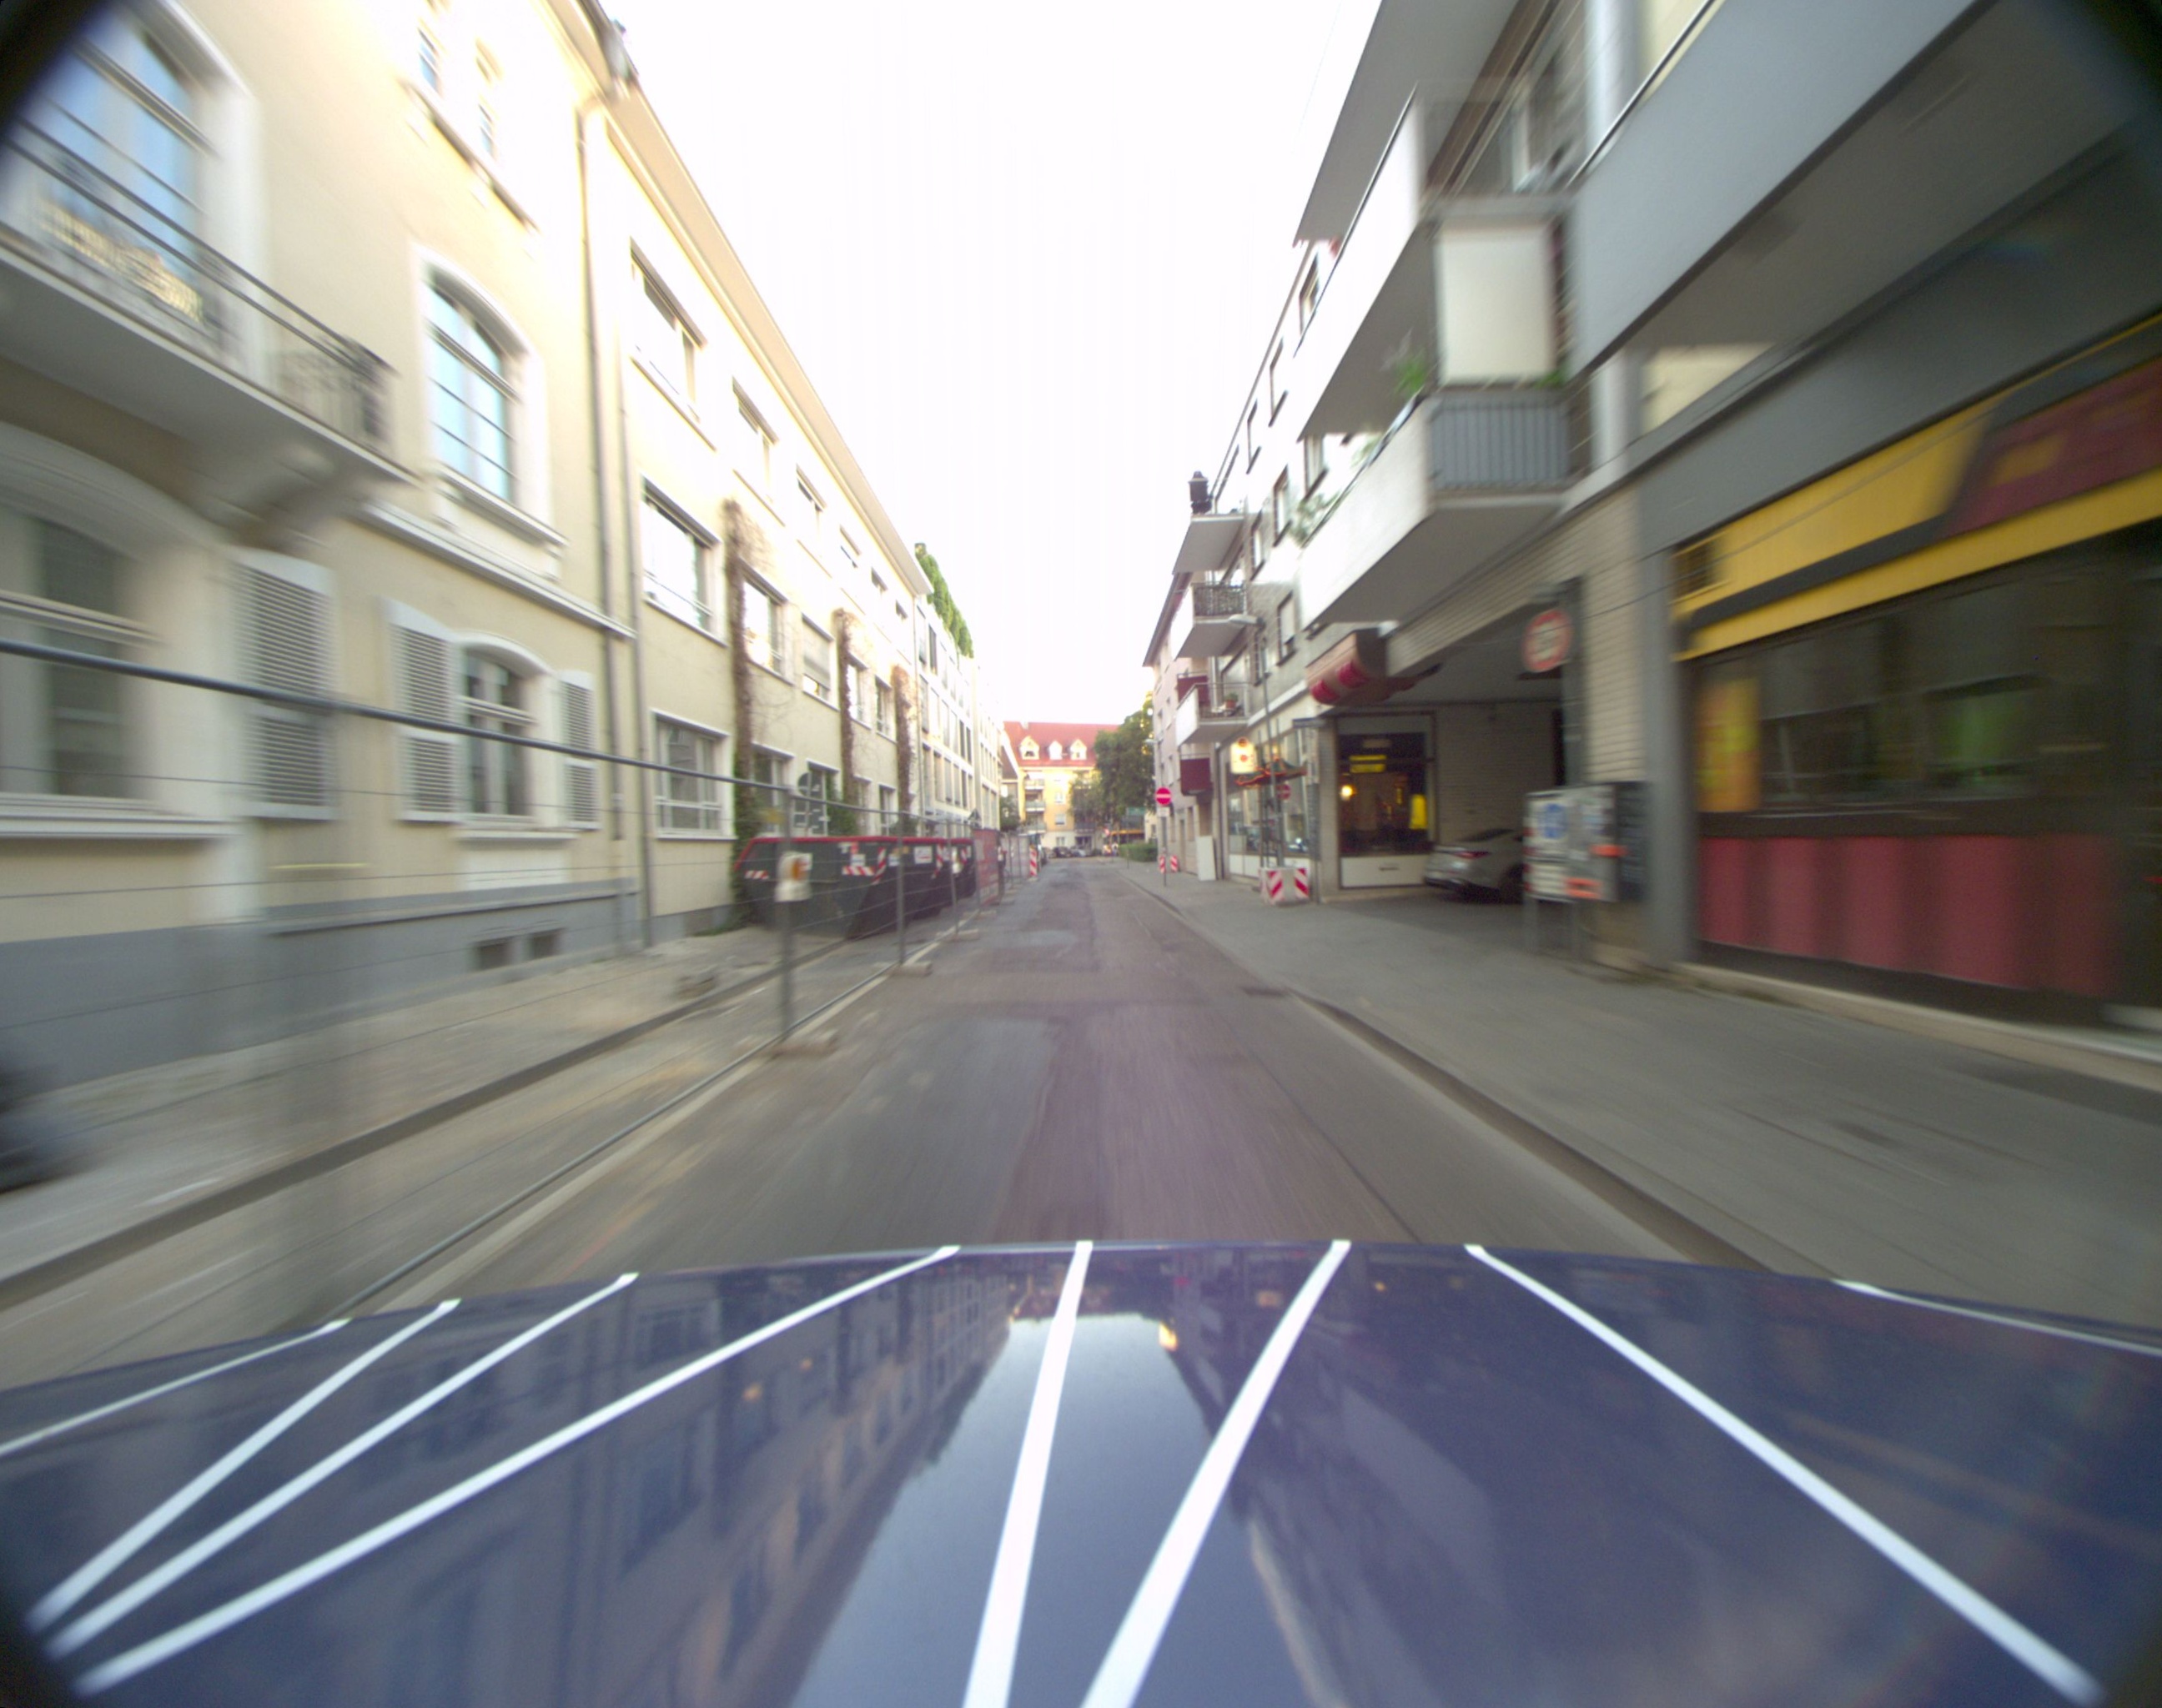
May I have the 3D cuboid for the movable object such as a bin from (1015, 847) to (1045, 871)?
[{"bbox_3d":[-3.007,0.260,45.603,1.493,1.285,3.778,-3,1,0],"label":"movable object such as a bin"}]

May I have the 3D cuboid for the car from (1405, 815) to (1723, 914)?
[{"bbox_3d":[8.573,0.160,13.806,4.443,1.455,2.069,-3,1,-1],"label":"car"}]

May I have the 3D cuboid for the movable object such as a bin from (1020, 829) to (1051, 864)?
[{"bbox_3d":[-3.678,-0.605,62.159,2.097,2.631,4.372,-3,1,0],"label":"movable object such as a bin"}]

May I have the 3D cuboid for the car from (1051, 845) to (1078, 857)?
[{"bbox_3d":[-2.091,-0.383,95.571,1.795,1.466,3.990,-2,1,-28],"label":"car"}]

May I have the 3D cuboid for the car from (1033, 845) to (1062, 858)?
[{"bbox_3d":[-4.159,-0.311,94.465,1.795,1.466,3.989,-2,1,-34],"label":"car"}]

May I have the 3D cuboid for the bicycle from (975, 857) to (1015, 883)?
[{"bbox_3d":[-3.688,0.677,32.532,1.771,1.076,0.474,-1,2,34],"label":"bicycle"}]

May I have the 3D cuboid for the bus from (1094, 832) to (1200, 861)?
[{"bbox_3d":[8.094,-0.989,94.178,12.534,3.307,3.920,-1,2,-9],"label":"bus"}]

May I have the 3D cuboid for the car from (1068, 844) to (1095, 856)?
[{"bbox_3d":[0.038,-0.551,96.264,1.795,1.466,3.990,-2,1,-29],"label":"car"}]

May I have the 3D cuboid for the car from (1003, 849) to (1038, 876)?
[{"bbox_3d":[-3.181,0.414,40.408,1.493,1.285,3.778,-3,1,0],"label":"car"}]
